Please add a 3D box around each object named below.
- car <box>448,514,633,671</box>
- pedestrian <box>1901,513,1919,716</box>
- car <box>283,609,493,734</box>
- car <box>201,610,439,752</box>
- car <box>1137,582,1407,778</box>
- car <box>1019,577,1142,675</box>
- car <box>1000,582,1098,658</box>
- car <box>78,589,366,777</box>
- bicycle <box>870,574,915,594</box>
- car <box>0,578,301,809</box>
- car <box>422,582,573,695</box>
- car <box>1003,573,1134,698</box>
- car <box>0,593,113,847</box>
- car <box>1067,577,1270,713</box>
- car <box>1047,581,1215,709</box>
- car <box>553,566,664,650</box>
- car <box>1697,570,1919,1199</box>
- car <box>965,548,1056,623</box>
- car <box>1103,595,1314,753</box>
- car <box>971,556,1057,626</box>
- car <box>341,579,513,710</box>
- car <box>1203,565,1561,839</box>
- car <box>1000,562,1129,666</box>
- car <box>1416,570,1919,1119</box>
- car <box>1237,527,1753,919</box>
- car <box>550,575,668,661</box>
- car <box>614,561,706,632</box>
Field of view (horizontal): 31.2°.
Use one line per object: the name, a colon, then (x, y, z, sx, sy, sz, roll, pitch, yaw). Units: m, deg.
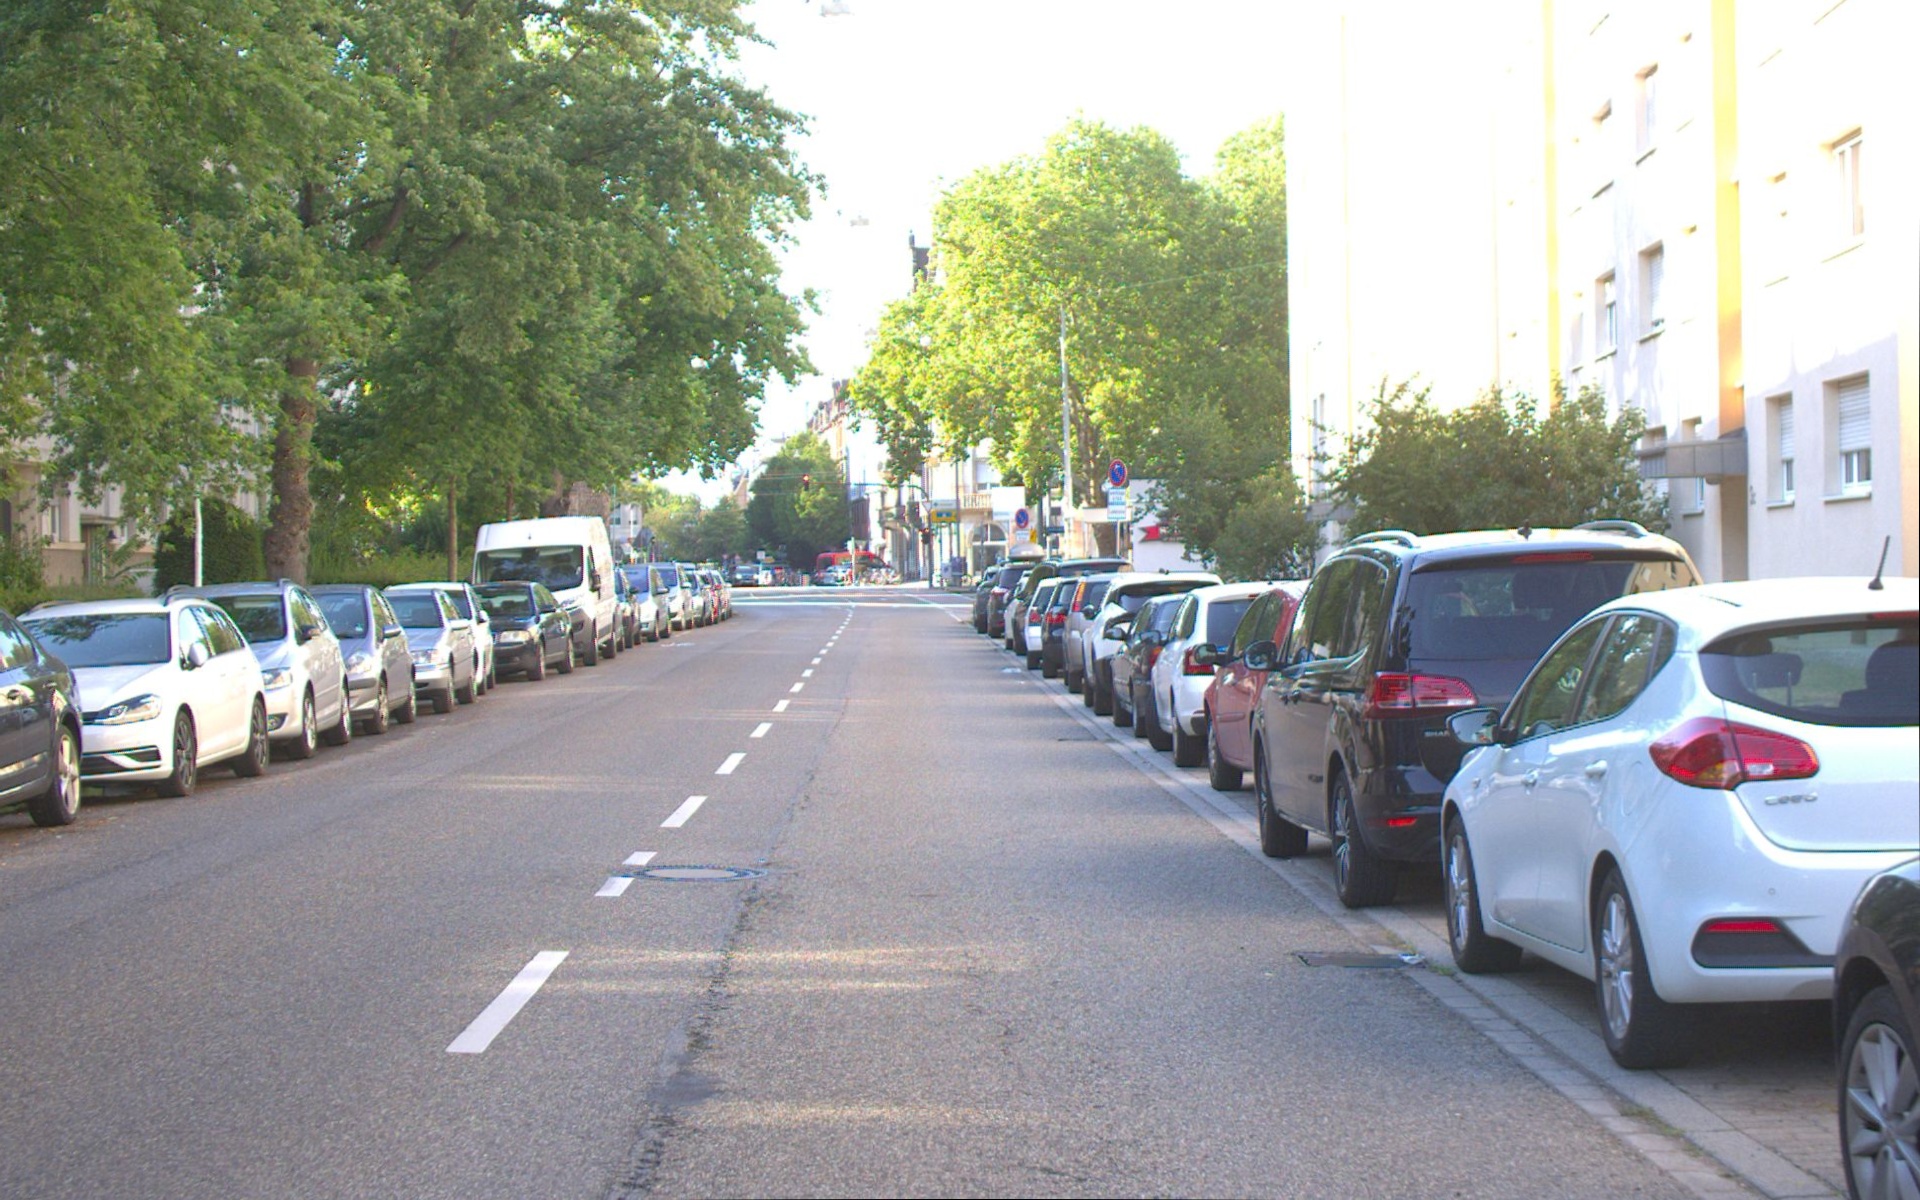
car: (-6.931, -0.103, 57.451, 2.358, 2.437, 6.165, 1, 0, -1)
pedestrian: (8.194, 0.106, 28.109, 0.766, 1.652, 0.536, -3, 0, -1)
car: (-6.671, 0.796, 40.518, 1.873, 1.351, 4.654, 1, 0, -3)
car: (-6.561, 0.797, 35.631, 1.873, 1.351, 4.000, 1, 0, -3)
car: (2.547, 0.635, 28.891, 1.771, 1.449, 4.000, -3, 0, -1)
car: (1.926, 0.418, 55.945, 1.837, 1.496, 4.172, 1, 0, 0)
car: (1.704, 0.388, 67.199, 1.679, 1.411, 4.724, 1, 0, -1)
car: (-6.559, 0.707, 30.953, 1.873, 1.547, 4.000, 1, 0, -3)
bicycle: (-4.376, -1.032, 222.723, 2.802, 1.199, 0.510, 1, 0, -7)
car: (-6.425, 0.632, 25.613, 2.004, 1.547, 4.471, 1, 0, 2)
car: (-6.735, 0.551, 50.359, 1.707, 1.568, 3.819, 1, 0, -1)
car: (1.582, 0.517, 51.258, 1.837, 1.766, 3.978, 1, 0, 0)
car: (-6.397, 0.742, 20.001, 1.873, 1.429, 4.804, -4, 0, -3)
car: (2.331, 0.499, 39.333, 1.873, 1.438, 4.000, 1, 0, -3)
car: (2.259, 0.588, 46.380, 1.962, 1.600, 4.279, 1, 0, -1)
car: (-7.523, 0.137, 74.020, 1.871, 1.553, 5.057, -5, 1, -1)
car: (2.840, 0.682, 6.250, 1.798, 1.502, 4.622, 0, 0, -3)
car: (1.140, -0.354, 79.196, 1.897, 1.645, 4.343, 1, 1, -1)
car: (2.393, 0.693, 34.017, 1.661, 1.433, 4.313, 1, 0, -1)
car: (1.312, -0.203, 84.927, 1.927, 1.653, 4.678, 1, 0, -1)
car: (-6.909, 0.568, 44.823, 1.707, 1.568, 3.261, 2, 0, -1)
car: (2.680, 0.621, 22.659, 1.771, 1.611, 4.000, 1, 0, -1)
car: (1.821, 0.250, 61.234, 2.024, 1.744, 4.767, 1, 0, -1)
car: (2.773, 0.678, 11.720, 1.771, 1.503, 4.000, -3, 0, -1)
car: (2.523, 0.545, 17.320, 1.771, 1.672, 4.646, 1, 0, -1)
car: (-6.694, 0.345, 65.950, 1.870, 1.553, 4.366, 1, 0, -1)
car: (-7.413, -0.065, 85.262, 1.916, 1.672, 4.974, 1, 0, -1)
